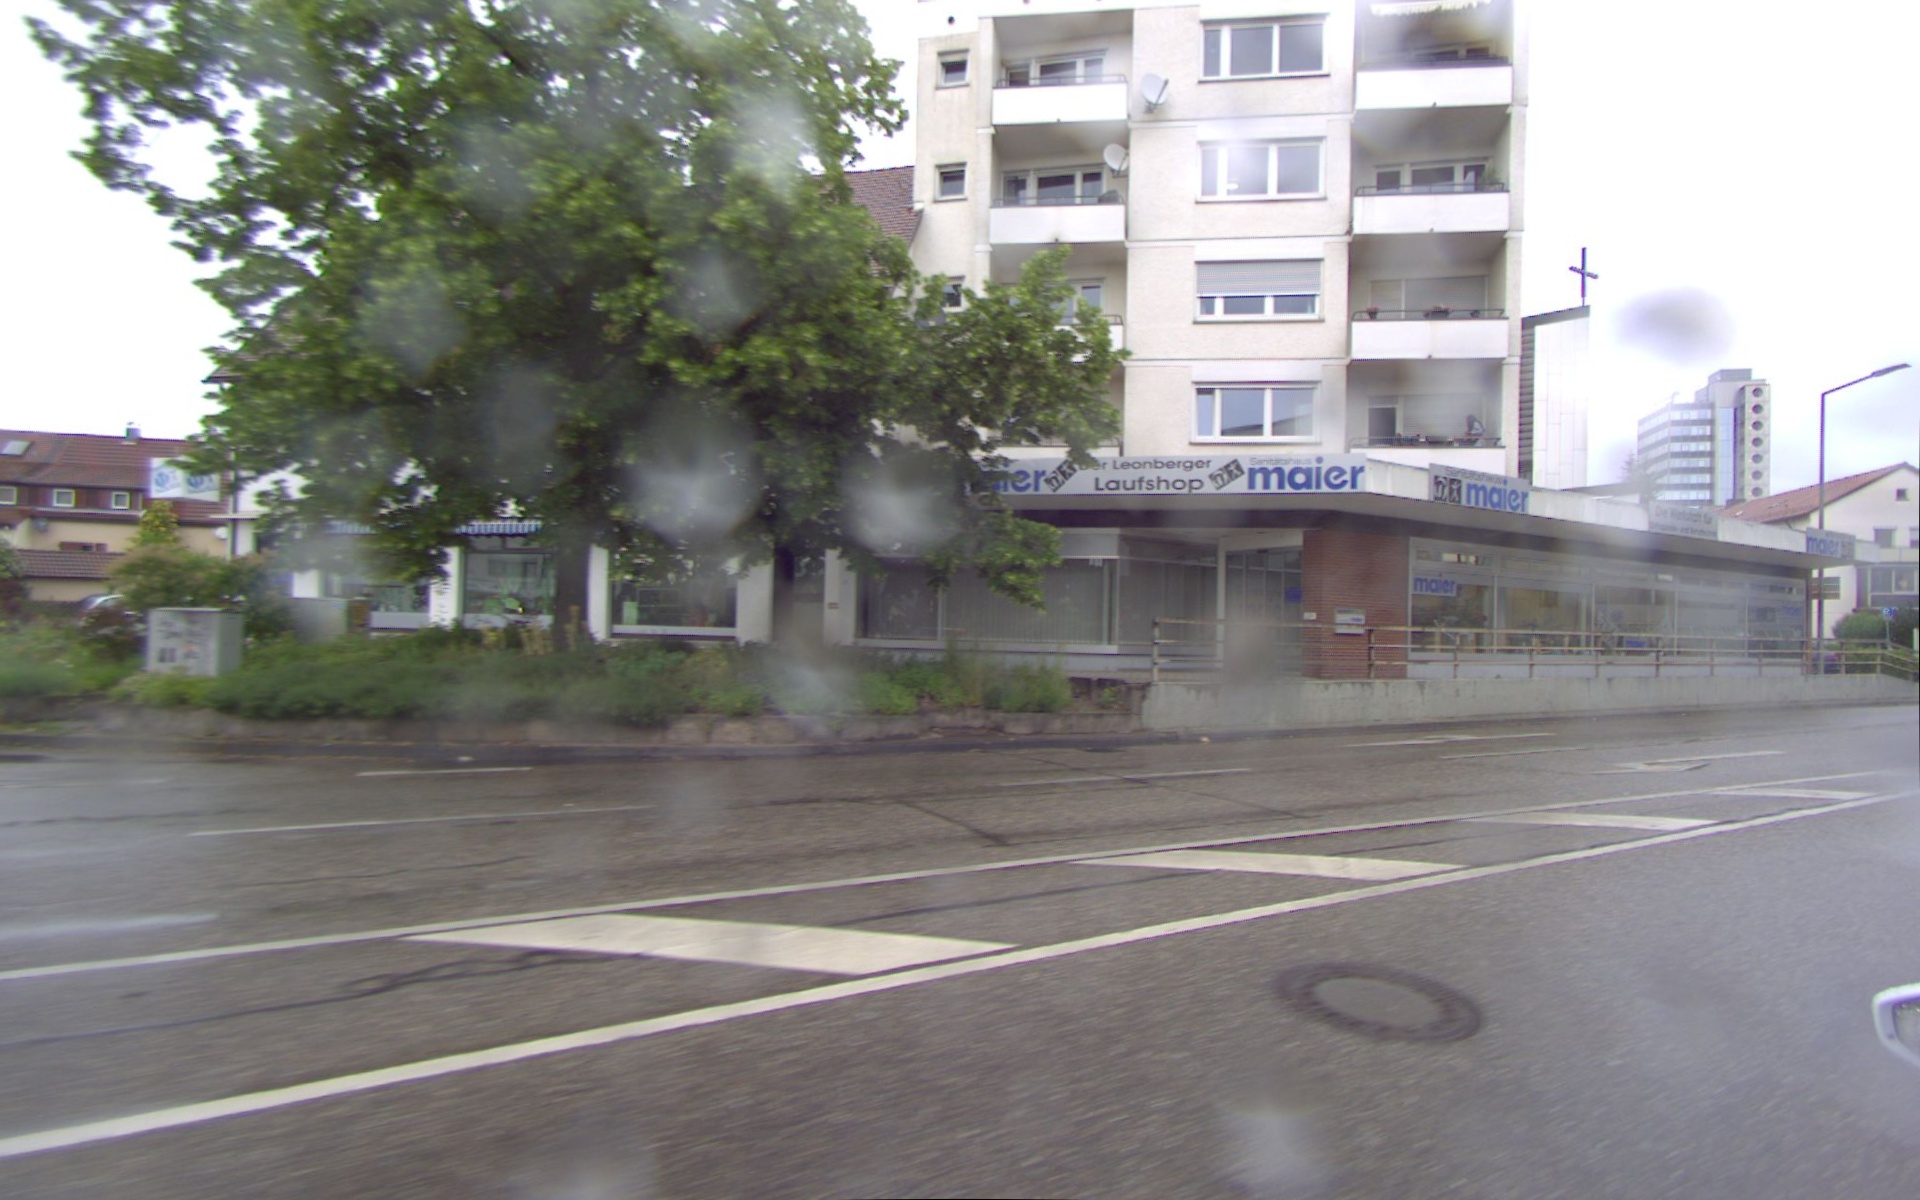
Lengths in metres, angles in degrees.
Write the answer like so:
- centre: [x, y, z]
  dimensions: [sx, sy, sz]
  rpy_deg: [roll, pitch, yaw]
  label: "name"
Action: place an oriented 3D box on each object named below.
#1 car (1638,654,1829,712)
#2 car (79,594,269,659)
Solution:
- centre: [24.560, 2.611, 32.072]
  dimensions: [4.380, 1.566, 2.001]
  rpy_deg: [1, -1, 13]
  label: "car"
- centre: [-20.336, 0.649, 26.031]
  dimensions: [3.920, 1.546, 2.000]
  rpy_deg: [1, 0, 18]
  label: "car"
